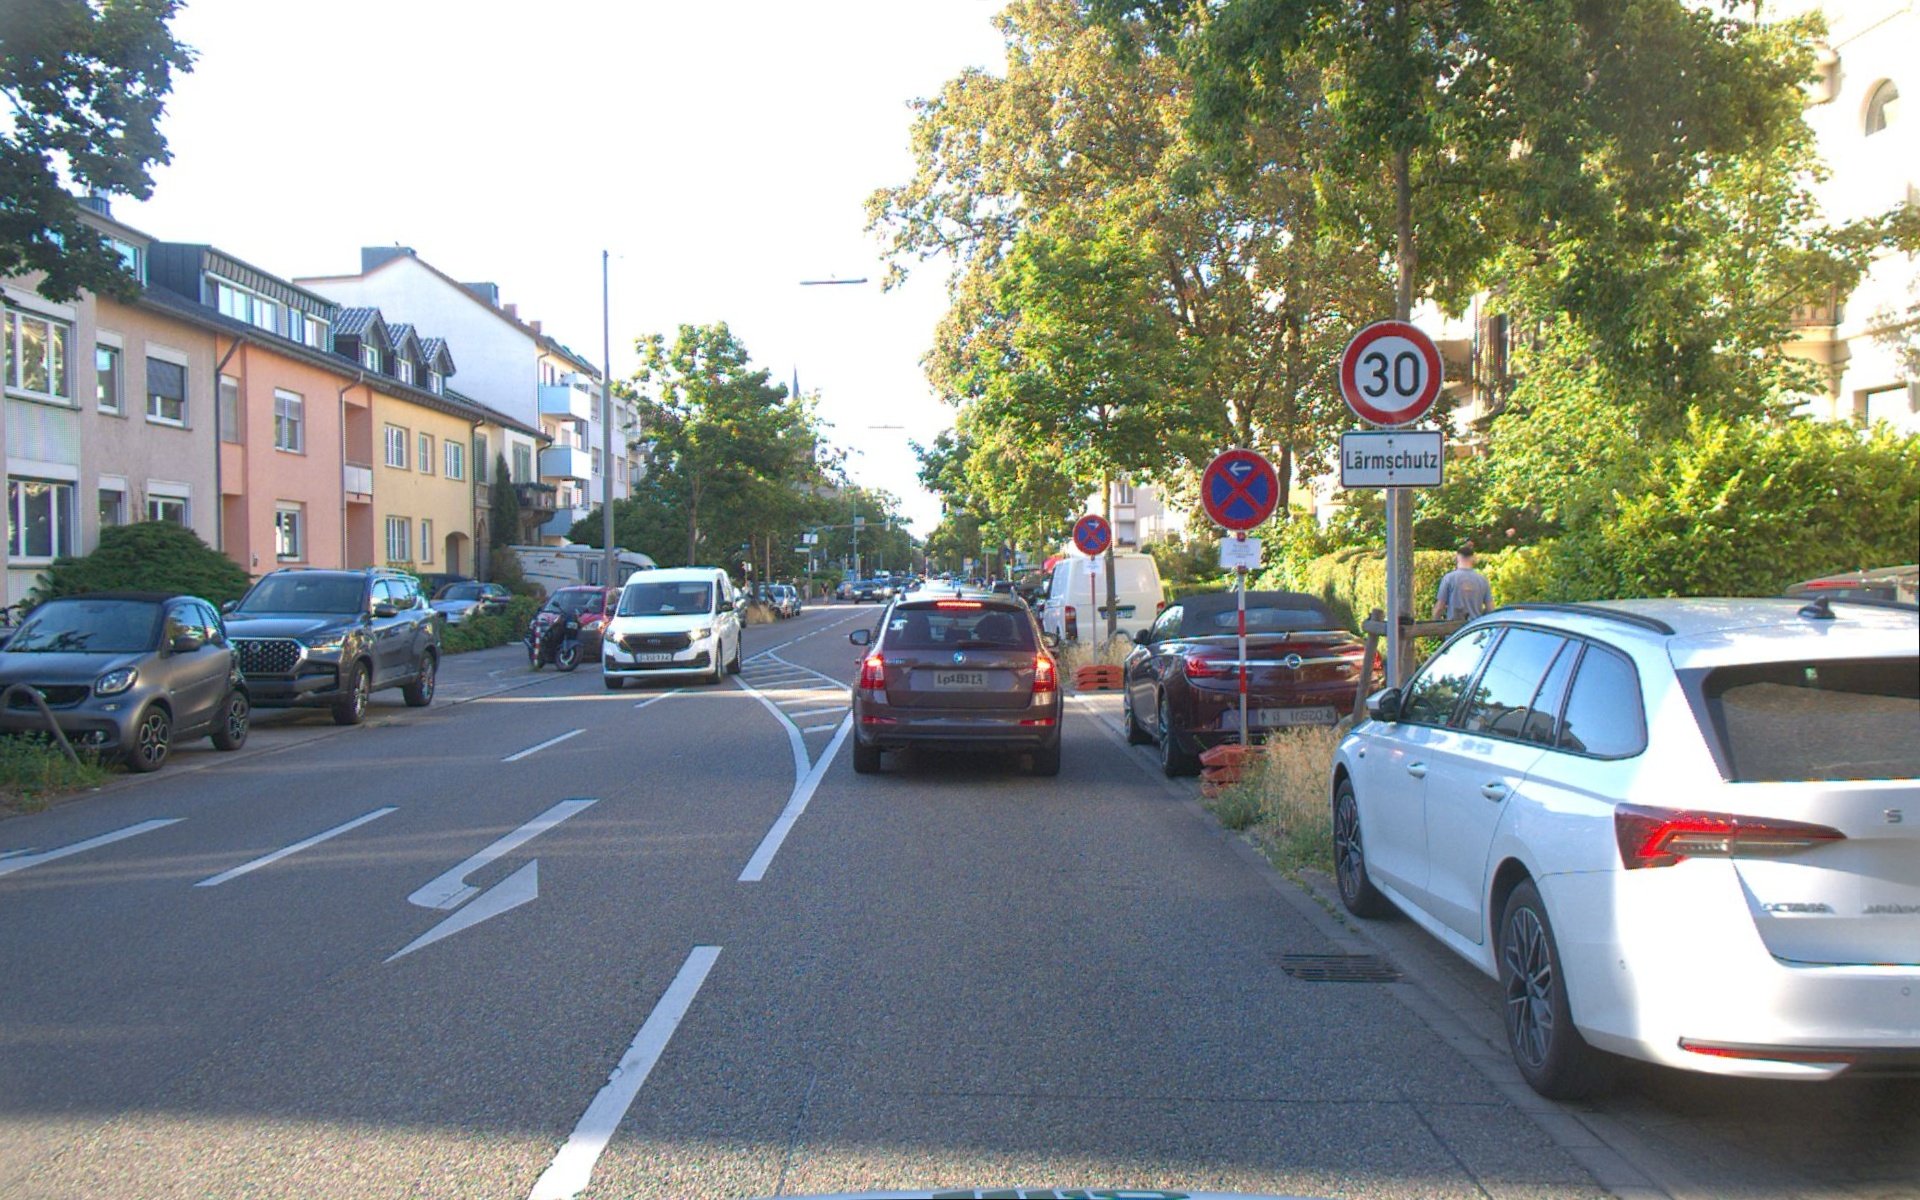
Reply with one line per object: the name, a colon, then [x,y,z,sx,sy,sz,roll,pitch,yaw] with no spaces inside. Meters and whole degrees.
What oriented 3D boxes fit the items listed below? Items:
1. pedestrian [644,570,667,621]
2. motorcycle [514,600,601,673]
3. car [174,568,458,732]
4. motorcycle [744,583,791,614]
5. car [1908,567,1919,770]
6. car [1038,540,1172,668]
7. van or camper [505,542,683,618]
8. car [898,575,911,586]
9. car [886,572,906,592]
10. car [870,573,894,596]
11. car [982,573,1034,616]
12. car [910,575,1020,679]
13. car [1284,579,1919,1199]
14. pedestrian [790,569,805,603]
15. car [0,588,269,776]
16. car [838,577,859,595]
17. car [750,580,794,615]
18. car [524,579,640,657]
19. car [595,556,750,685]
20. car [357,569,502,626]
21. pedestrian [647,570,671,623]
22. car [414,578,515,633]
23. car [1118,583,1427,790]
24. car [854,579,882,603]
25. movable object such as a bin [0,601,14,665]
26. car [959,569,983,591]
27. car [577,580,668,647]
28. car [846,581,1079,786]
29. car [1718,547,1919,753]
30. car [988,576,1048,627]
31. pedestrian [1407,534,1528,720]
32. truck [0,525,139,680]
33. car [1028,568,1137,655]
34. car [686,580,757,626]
pedestrian: [-11.120,-0.161,60.390,0.699,1.824,0.572,-1,1,2]
motorcycle: [-7.639,0.663,31.284,1.164,1.288,2.352,-1,1,-24]
car: [-7.896,0.522,20.804,1.849,1.810,4.725,-1,1,-2]
motorcycle: [-8.281,-0.068,71.071,2.014,1.287,0.764,-1,1,38]
car: [9.071,0.402,12.076,4.034,1.466,1.703,-3,2,-25]
car: [2.574,0.035,30.431,1.865,2.140,4.639,-1,1,-2]
van or camper: [-14.774,-0.812,67.045,6.660,2.821,2.351,2,1,-2]
car: [-8.154,-2.852,243.634,1.793,1.607,4.000,-1,1,-1]
car: [-6.771,-1.923,175.809,1.953,1.941,4.963,-3,1,-1]
car: [-6.509,-1.312,138.738,1.769,1.836,4.745,-2,1,-1]
car: [1.902,-0.243,66.629,1.818,1.609,4.013,-2,1,-1]
car: [0.048,0.391,27.881,1.701,1.598,3.999,1,1,-1]
car: [2.584,0.689,6.194,1.784,1.503,4.621,-1,1,-1]
pedestrian: [-9.841,-0.866,100.332,0.764,2.022,0.821,-1,1,0]
car: [-7.838,0.698,15.597,1.541,1.582,2.749,-1,1,-2]
car: [-9.246,-1.170,137.140,1.491,1.482,3.584,-1,1,-1]
car: [-8.455,-0.137,74.776,1.561,1.496,3.803,1,1,-1]
car: [-7.977,0.341,35.131,1.560,1.550,3.437,-1,1,2]
car: [-4.575,0.274,26.947,1.850,1.835,4.429,-3,1,-2]
car: [-16.568,-0.102,51.797,3.905,1.664,1.866,1,1,0]
pedestrian: [-10.400,-0.124,57.118,0.699,1.824,0.506,-1,1,1]
car: [-13.920,0.121,46.670,1.630,1.433,3.753,-2,1,1]
car: [2.556,0.619,14.657,1.722,1.444,4.614,-3,1,-1]
car: [-6.472,-0.614,116.905,1.798,1.597,3.999,-3,0,-1]
movable object such as a bin: [-17.014,0.587,29.031,0.478,1.109,0.586,-1,1,-1]
car: [0.940,-1.715,141.573,1.952,1.802,4.001,1,1,2]
car: [-8.368,0.294,41.287,1.561,1.550,3.889,-1,1,-2]
car: [-0.025,0.603,14.543,1.737,1.515,4.310,0,1,-1]
car: [8.906,0.301,14.345,4.175,1.537,1.782,-3,2,-20]
car: [1.847,0.018,54.027,1.673,1.506,4.267,-3,1,-1]
pedestrian: [5.095,0.254,16.657,0.804,1.805,1.088,-1,1,-5]
truck: [-16.374,0.055,24.951,6.754,2.223,2.276,-1,1,-1]
car: [2.512,0.198,34.899,1.818,1.631,4.310,-3,1,-1]
car: [-8.289,0.064,57.831,1.829,1.520,4.517,1,1,-1]
